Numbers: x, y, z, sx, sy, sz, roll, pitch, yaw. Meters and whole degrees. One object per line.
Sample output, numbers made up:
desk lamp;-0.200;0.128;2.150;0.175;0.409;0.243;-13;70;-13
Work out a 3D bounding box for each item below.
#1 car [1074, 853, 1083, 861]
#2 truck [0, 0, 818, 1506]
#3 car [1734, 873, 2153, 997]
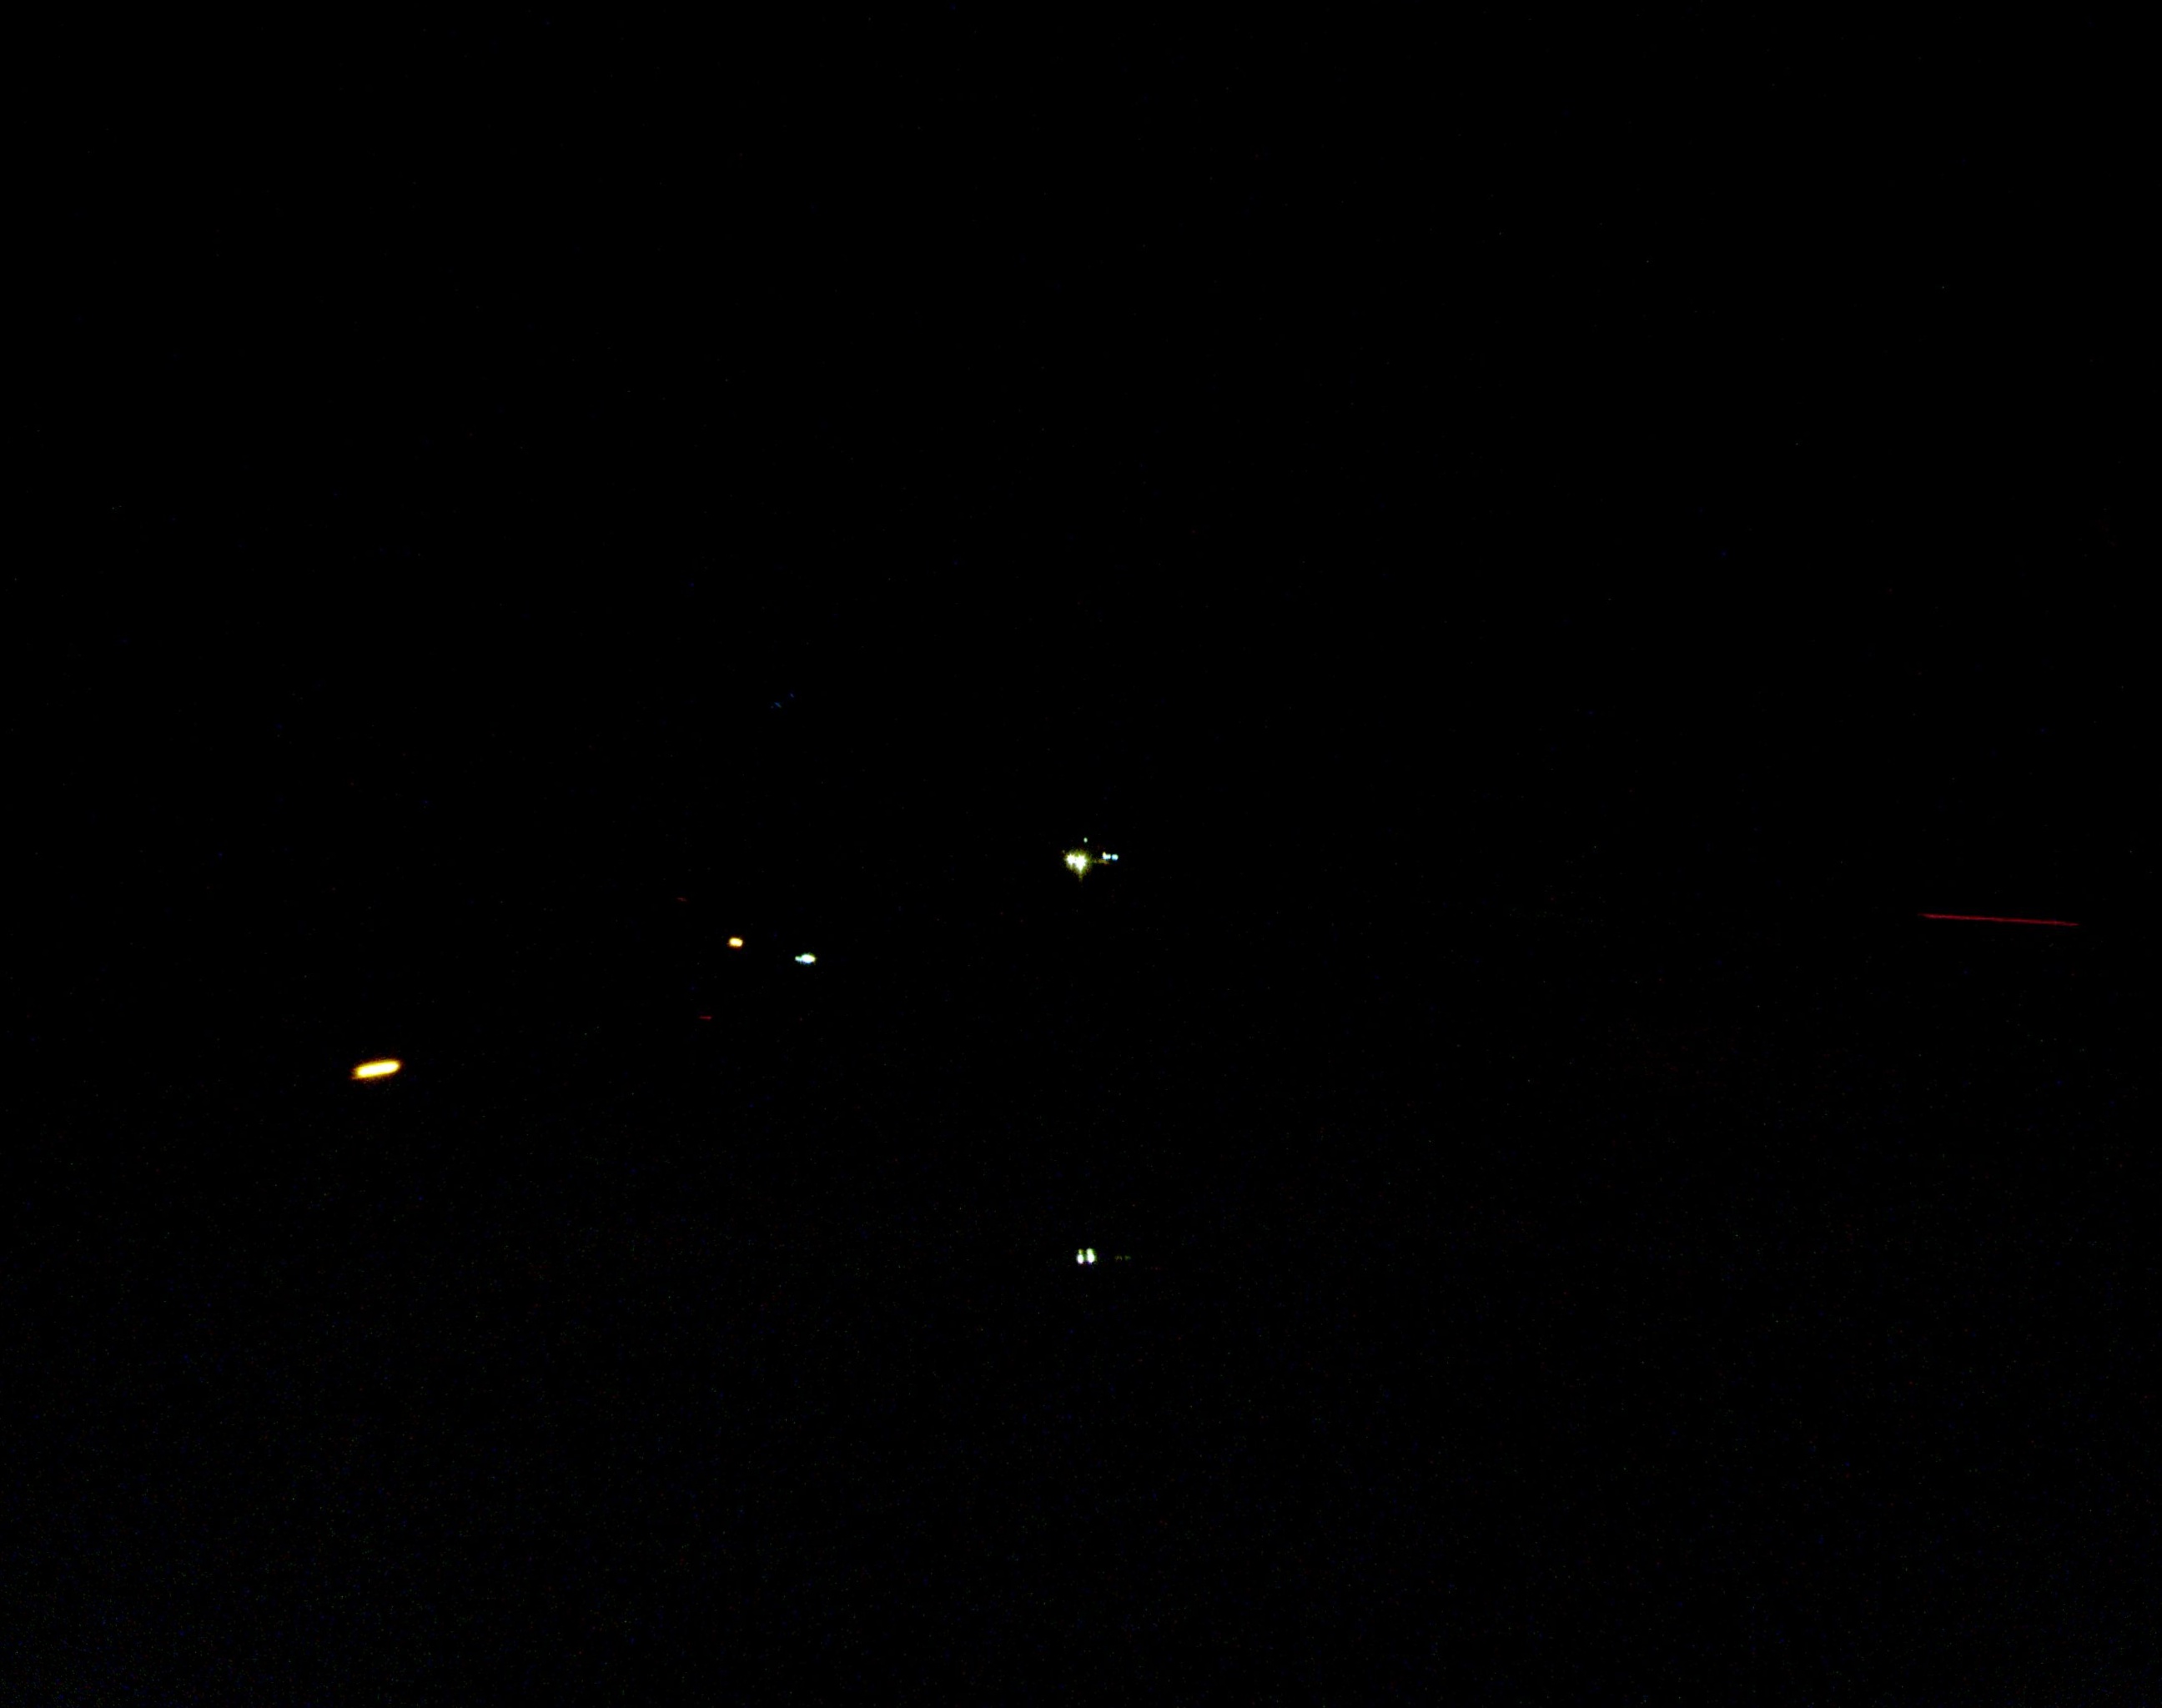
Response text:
car;-0.492;0.550;144.477;1.570;1.336;4.166;-1;0;-1
truck;-3.905;-0.483;0.527;2.694;4.082;13.139;-1;1;0
car;12.131;1.028;11.169;1.609;1.322;3.938;1;1;-1
